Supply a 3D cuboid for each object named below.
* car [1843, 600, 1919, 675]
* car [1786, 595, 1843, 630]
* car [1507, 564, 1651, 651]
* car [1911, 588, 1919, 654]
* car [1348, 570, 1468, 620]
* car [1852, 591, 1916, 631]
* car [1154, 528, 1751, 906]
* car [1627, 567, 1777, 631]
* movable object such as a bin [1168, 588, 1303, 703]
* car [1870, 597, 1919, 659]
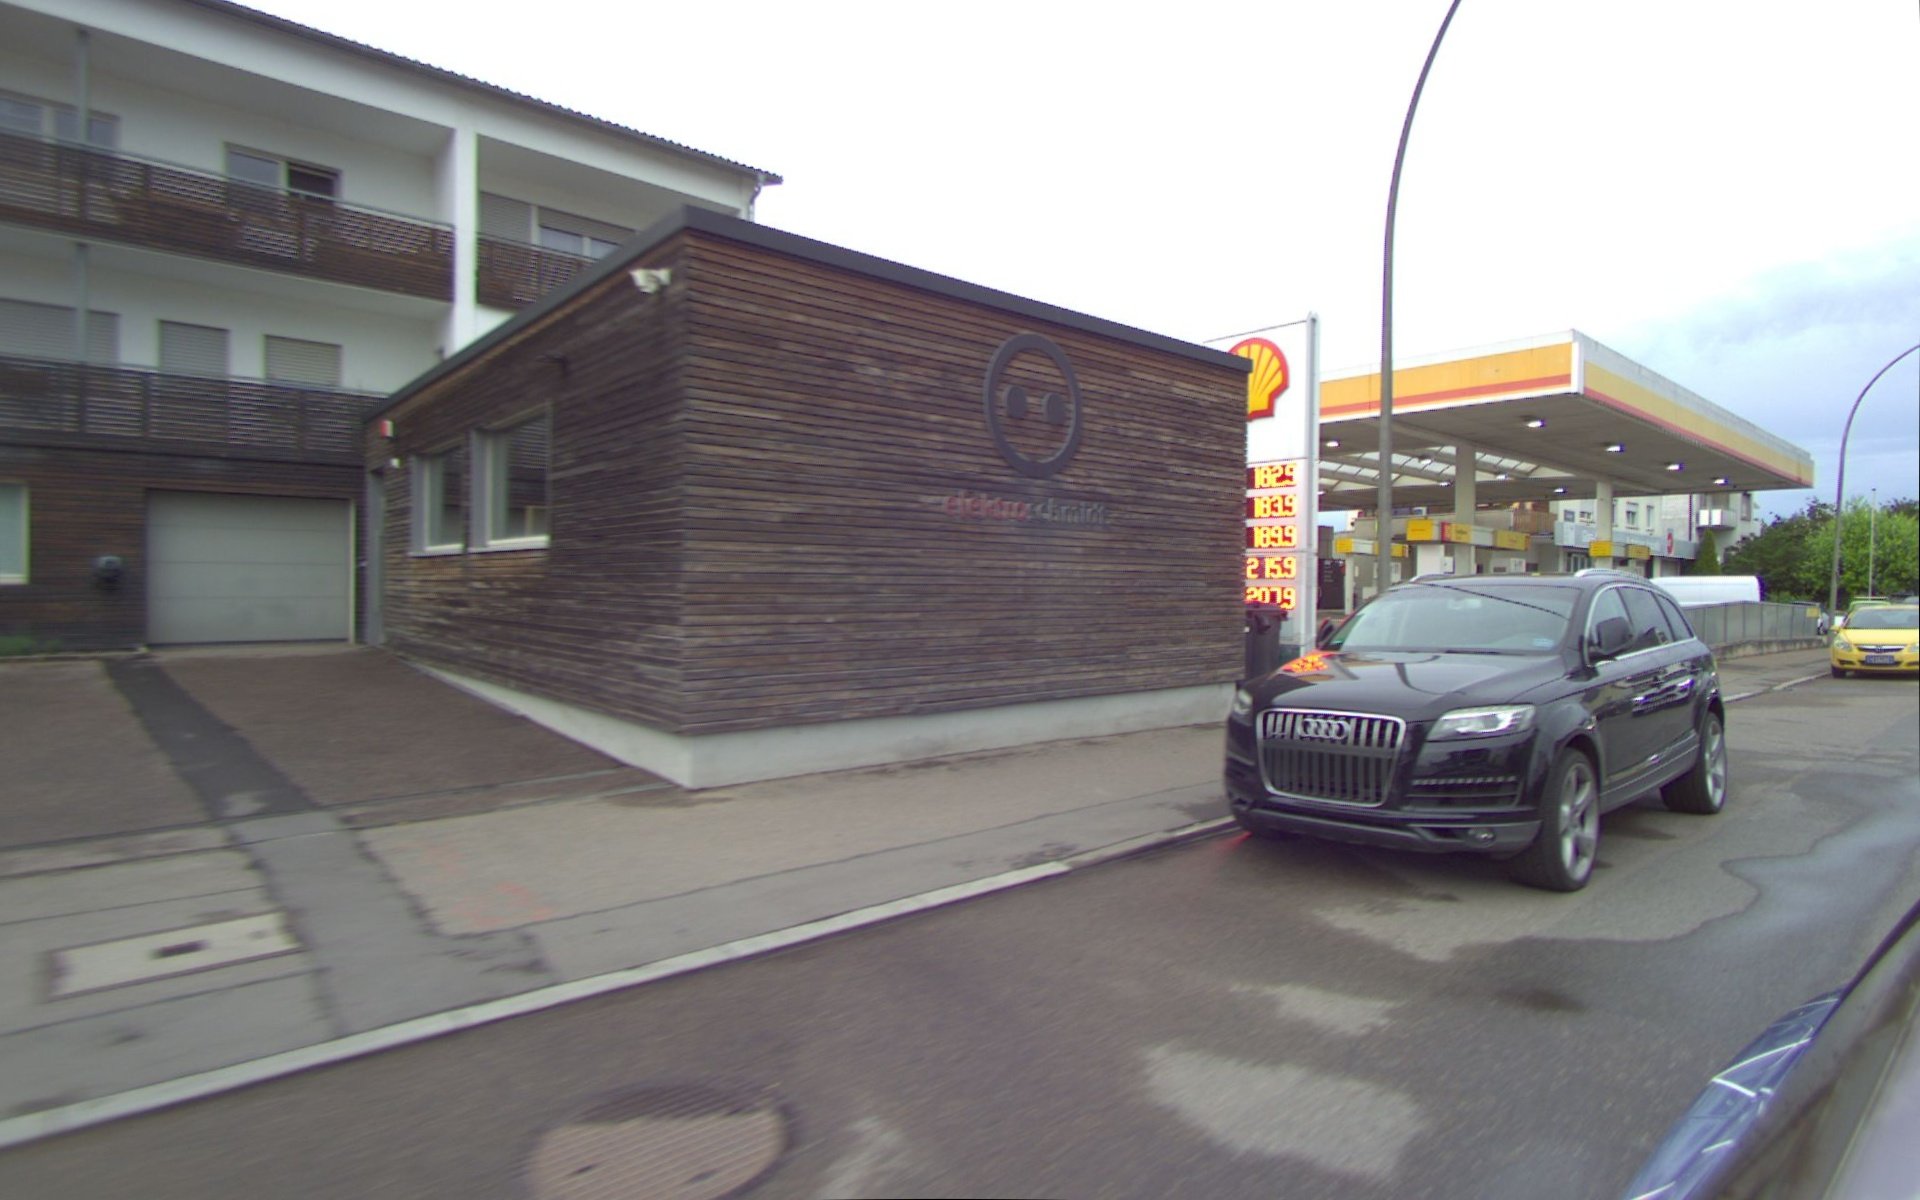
[{"bbox_3d":[19.689,0.724,20.961,3.735,1.419,1.659,0,1,-41],"label":"car"},{"bbox_3d":[41.744,0.587,49.404,1.749,1.538,3.671,6,4,45],"label":"car"},{"bbox_3d":[14.294,0.139,23.290,3.933,1.781,1.822,0,3,-44],"label":"car"},{"bbox_3d":[27.602,0.544,27.850,4.367,1.761,1.658,0,-2,-42],"label":"car"},{"bbox_3d":[14.366,-0.162,32.316,4.592,1.484,1.743,1,1,-42],"label":"car"},{"bbox_3d":[42.204,0.472,46.199,1.994,1.704,3.935,1,0,45],"label":"car"},{"bbox_3d":[3.518,0.560,6.805,4.480,1.683,2.094,1,-1,-42],"label":"car"},{"bbox_3d":[31.300,-0.078,42.896,4.760,2.552,2.225,1,0,28],"label":"car"},{"bbox_3d":[3.540,0.539,12.981,1.361,1.356,1.103,0,1,-43],"label":"movable object such as a bin"},{"bbox_3d":[23.099,0.636,24.111,3.955,1.394,1.659,0,1,-42],"label":"car"}]
